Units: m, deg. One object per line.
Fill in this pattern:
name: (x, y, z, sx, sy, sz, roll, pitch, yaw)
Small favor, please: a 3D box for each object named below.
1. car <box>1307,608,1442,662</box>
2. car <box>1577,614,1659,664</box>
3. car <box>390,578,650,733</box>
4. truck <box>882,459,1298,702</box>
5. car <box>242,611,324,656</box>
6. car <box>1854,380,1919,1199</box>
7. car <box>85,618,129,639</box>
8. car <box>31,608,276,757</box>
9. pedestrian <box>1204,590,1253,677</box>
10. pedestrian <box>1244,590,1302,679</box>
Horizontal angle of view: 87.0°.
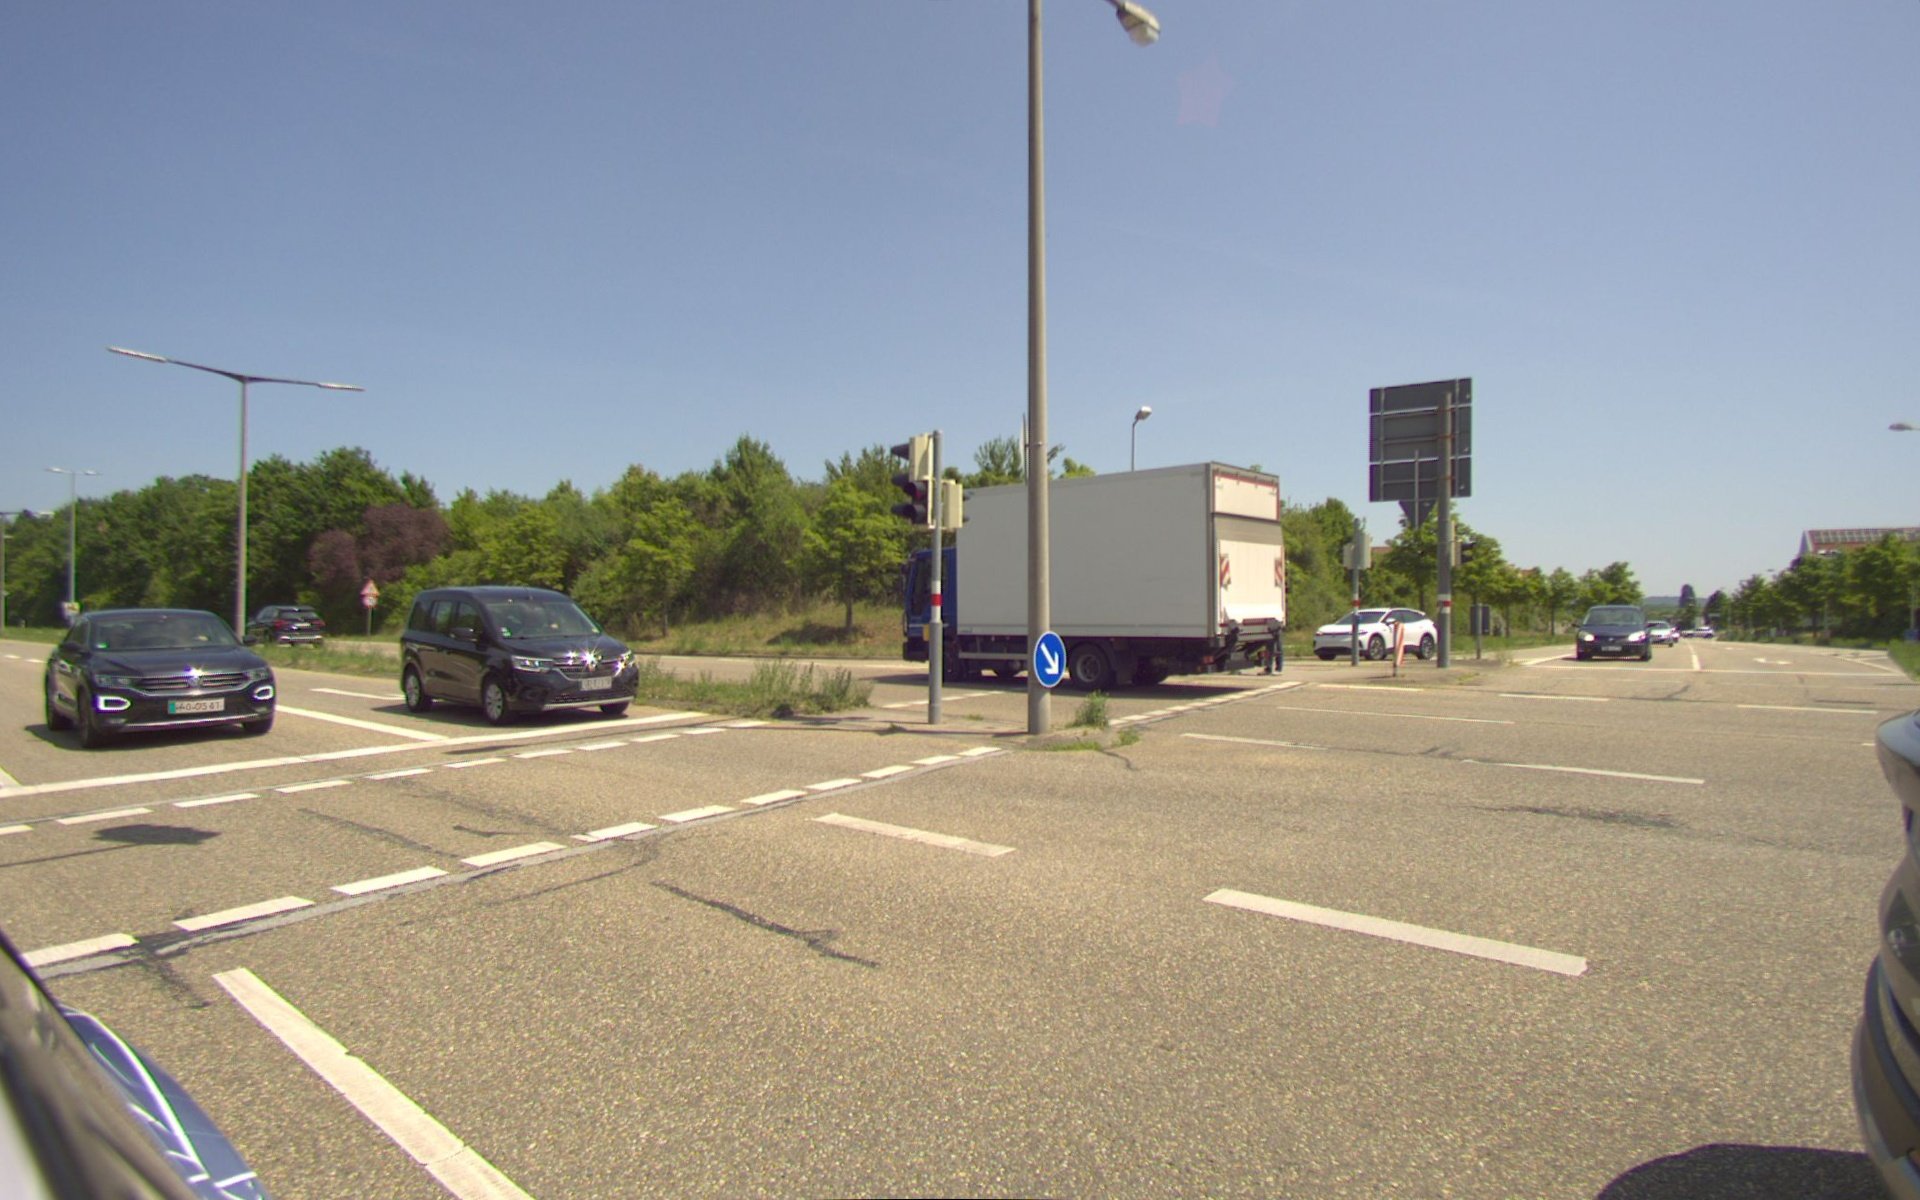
car: (12.752, 1.118, 31.058, 4.239, 1.513, 1.883, 2, -5, -37)
car: (19.217, 1.112, 29.487, 1.701, 1.346, 3.949, -1, -2, 38)
car: (-6.263, 0.700, 14.164, 4.320, 1.840, 1.713, -1, -1, 42)
truck: (2.071, -0.226, 18.394, 7.264, 3.597, 2.659, -1, -1, 41)
car: (-26.564, 1.293, 39.654, 4.222, 1.676, 1.688, -1, -2, 42)
car: (3.546, 0.533, 0.481, 4.642, 1.675, 1.785, -1, -1, 42)
car: (-62.979, 2.086, 74.714, 4.164, 1.467, 1.804, -1, -1, 40)
car: (-10.038, 0.887, 12.495, 3.969, 1.523, 1.716, -1, 0, 42)
pedestrian: (5.500, 0.677, 20.756, 0.573, 1.749, 0.795, 0, -1, -29)
pedestrian: (6.133, 0.666, 19.843, 0.712, 1.712, 0.777, 0, -1, -30)
